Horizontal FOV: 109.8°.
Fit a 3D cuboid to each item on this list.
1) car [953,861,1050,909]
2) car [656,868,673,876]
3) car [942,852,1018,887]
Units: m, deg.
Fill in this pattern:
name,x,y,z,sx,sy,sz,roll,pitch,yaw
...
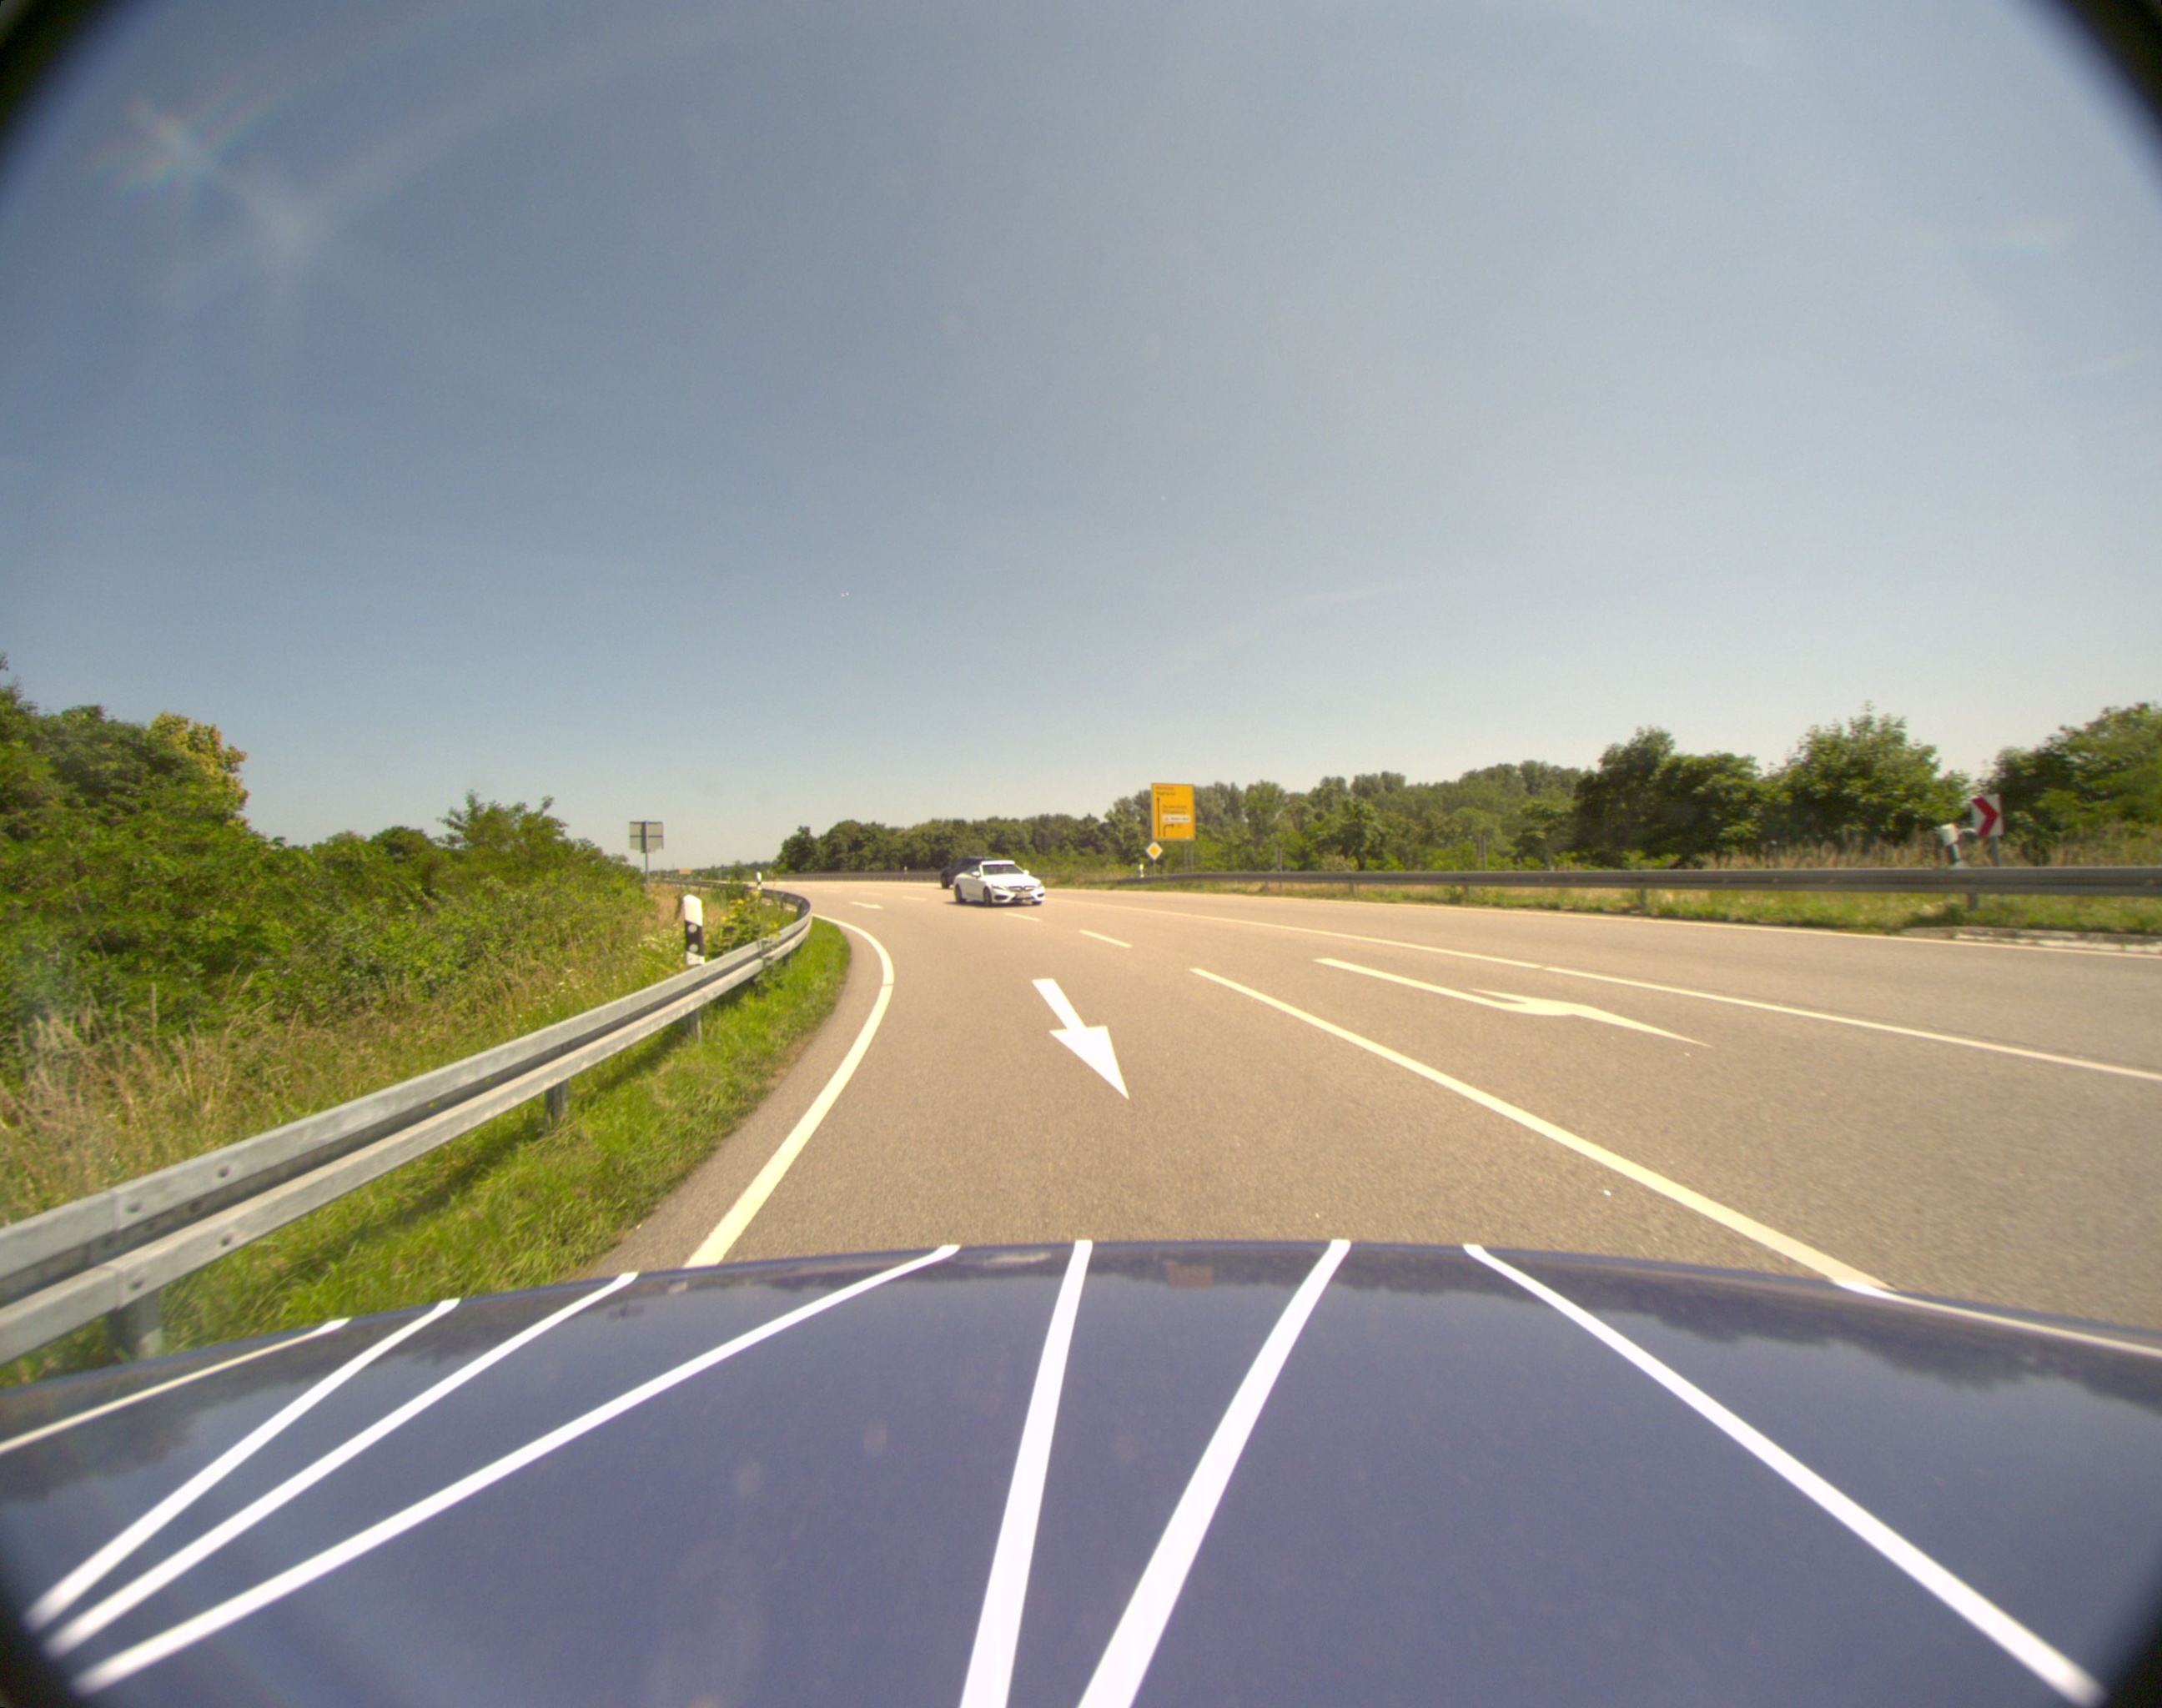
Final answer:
name,x,y,z,sx,sy,sz,roll,pitch,yaw
car,-2.733,0.959,25.196,1.817,1.407,4.101,-2,0,-27
car,-70.155,3.056,127.961,1.744,1.392,4.369,1,-2,-37
car,-5.090,0.796,37.873,1.720,1.647,4.556,1,-2,-37
